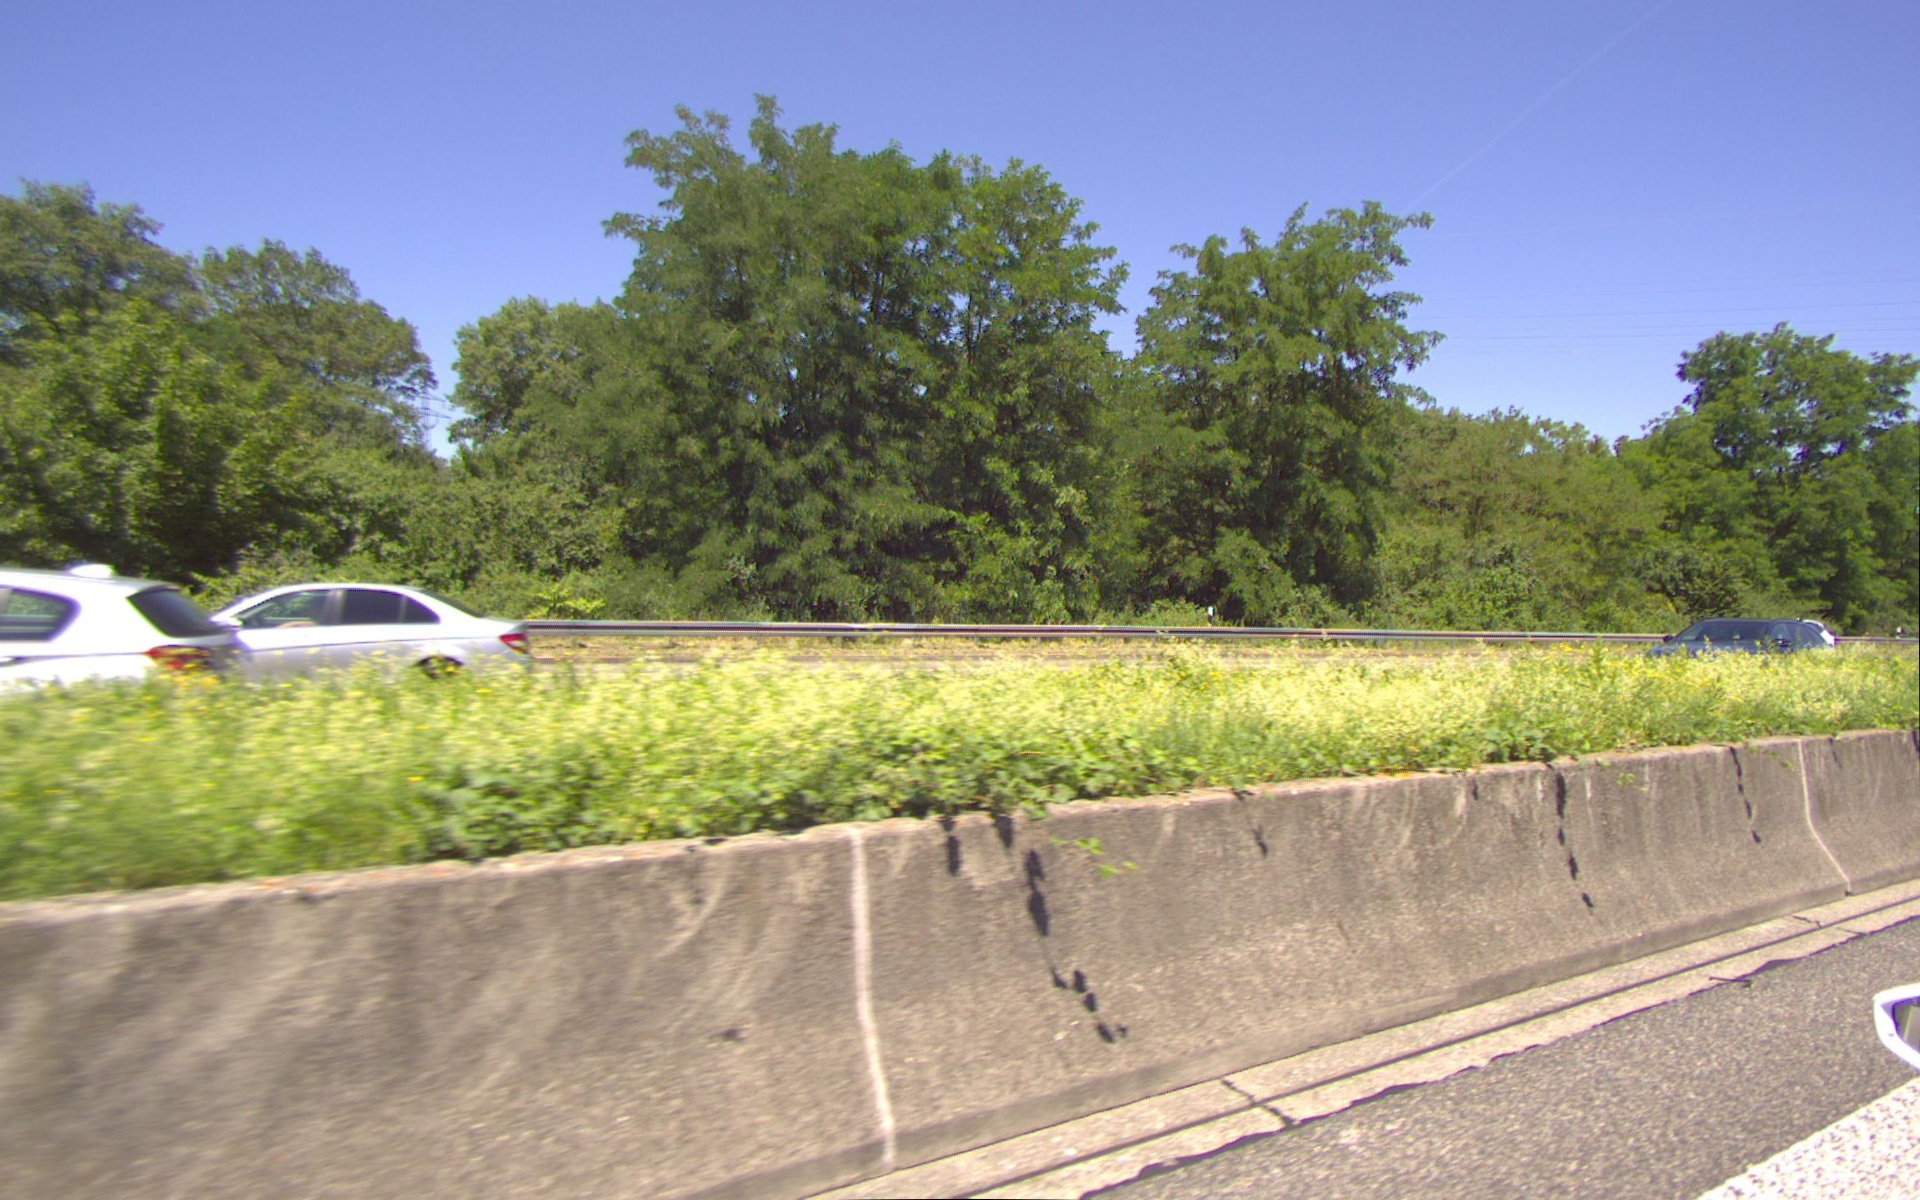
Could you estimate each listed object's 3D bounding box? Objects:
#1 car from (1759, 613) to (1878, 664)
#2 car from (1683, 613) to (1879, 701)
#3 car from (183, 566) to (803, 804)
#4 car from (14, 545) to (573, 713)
[{"bbox_3d":[30.847,1.370,36.064,4.706,1.709,1.805,1,0,-30],"label":"car"},{"bbox_3d":[15.841,1.069,19.369,3.420,1.529,1.643,1,0,-26],"label":"car"},{"bbox_3d":[-3.378,0.539,7.751,3.956,1.417,1.640,2,0,-32],"label":"car"},{"bbox_3d":[-6.767,0.302,10.818,4.662,1.494,1.689,2,0,-29],"label":"car"}]
